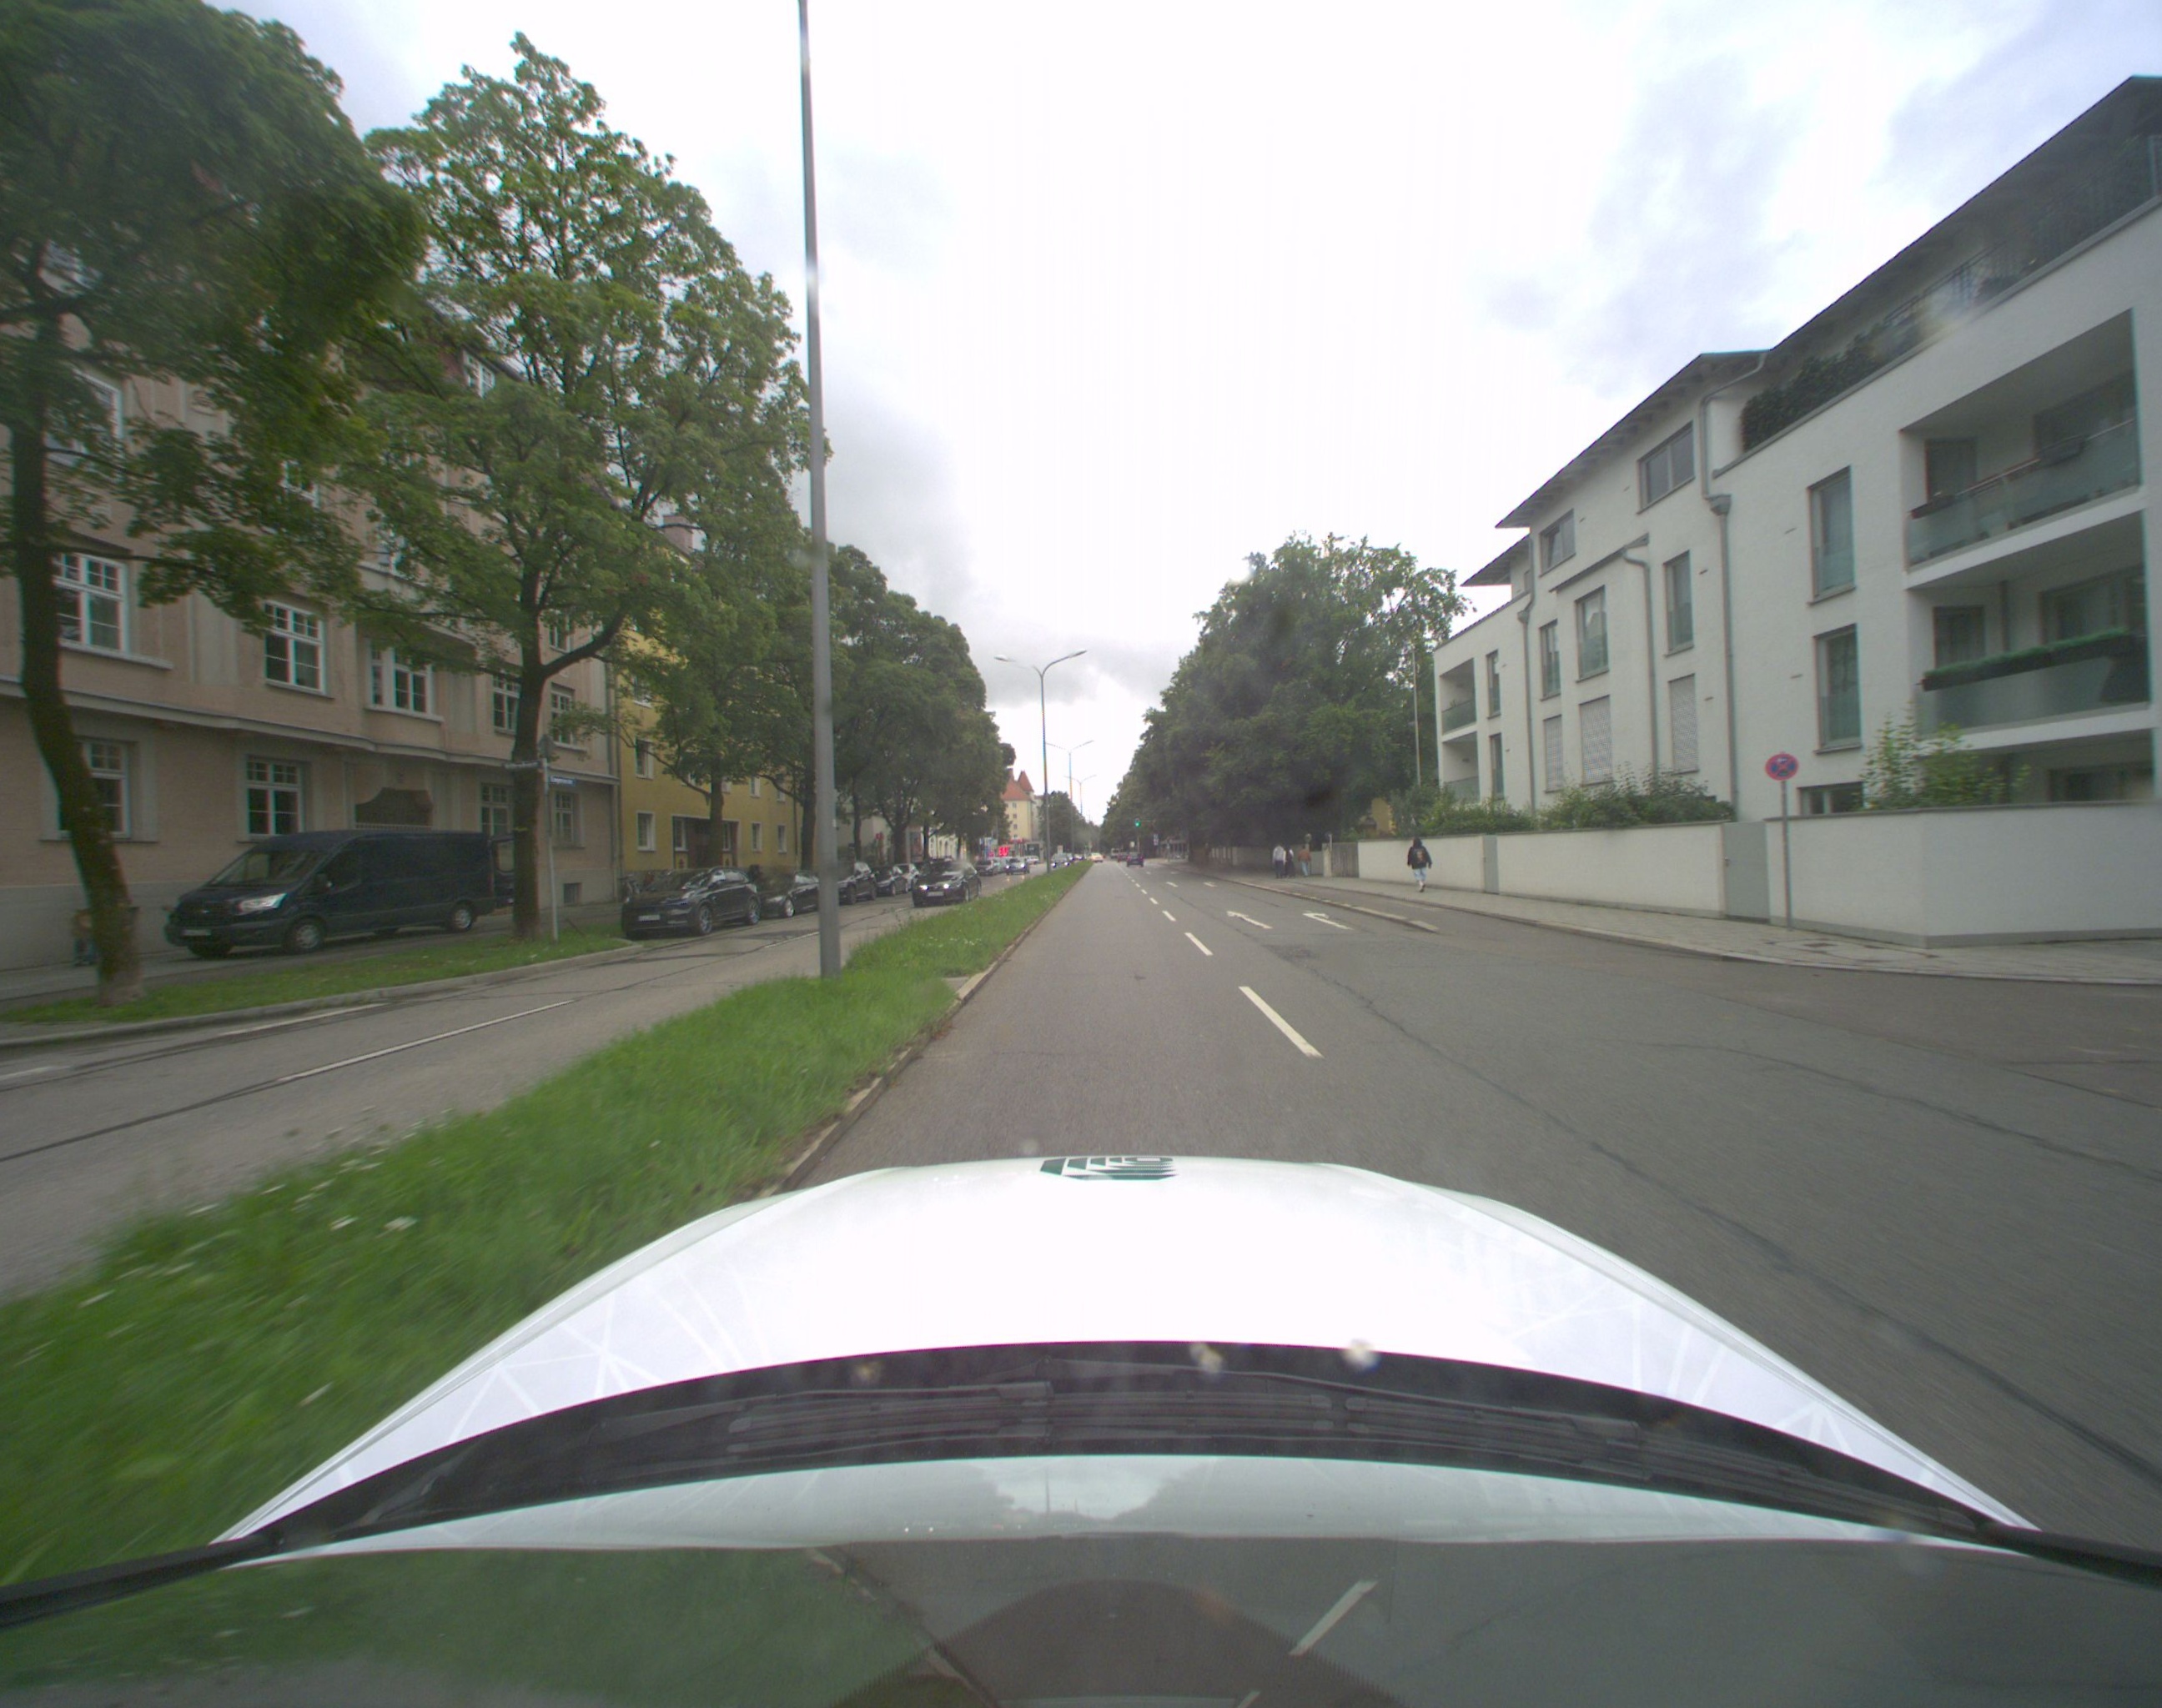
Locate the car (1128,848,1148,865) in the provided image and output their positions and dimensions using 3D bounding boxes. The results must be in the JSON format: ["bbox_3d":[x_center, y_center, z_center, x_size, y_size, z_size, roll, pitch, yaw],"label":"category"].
[{"bbox_3d":[5.852,0.259,84.492,1.850,1.684,4.001,-2,0,1],"label":"car"}]

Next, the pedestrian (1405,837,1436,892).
[{"bbox_3d":[10.180,0.318,24.447,0.526,1.581,0.729,-4,0,1],"label":"pedestrian"}]

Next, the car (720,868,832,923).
[{"bbox_3d":[-9.546,1.258,25.896,1.686,1.454,4.494,-2,0,2],"label":"car"}]

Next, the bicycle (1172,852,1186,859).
[{"bbox_3d":[15.698,0.277,130.628,2.130,1.014,0.604,-2,0,9],"label":"bicycle"}]

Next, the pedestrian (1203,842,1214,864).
[{"bbox_3d":[11.501,-0.113,73.520,0.774,1.942,0.803,-3,0,2],"label":"pedestrian"}]

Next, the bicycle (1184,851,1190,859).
[{"bbox_3d":[14.244,0.154,109.691,0.597,1.121,1.890,-2,-1,2],"label":"bicycle"}]

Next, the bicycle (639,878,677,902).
[{"bbox_3d":[-17.992,1.529,34.687,0.539,0.899,1.931,-2,0,2],"label":"bicycle"}]

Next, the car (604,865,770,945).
[{"bbox_3d":[-9.760,1.176,20.632,1.866,1.687,4.440,-2,0,2],"label":"car"}]

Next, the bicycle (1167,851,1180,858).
[{"bbox_3d":[15.353,0.113,134.858,2.130,1.178,0.604,-2,0,9],"label":"bicycle"}]

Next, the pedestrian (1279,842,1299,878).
[{"bbox_3d":[10.187,0.285,39.955,0.664,1.692,0.729,-4,0,0],"label":"pedestrian"}]

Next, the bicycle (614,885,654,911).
[{"bbox_3d":[-17.932,1.760,32.708,0.482,0.899,1.931,-2,0,2],"label":"bicycle"}]

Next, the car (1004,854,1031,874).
[{"bbox_3d":[-5.461,0.841,70.553,1.804,1.507,4.059,-3,0,2],"label":"car"}]

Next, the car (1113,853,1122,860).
[{"bbox_3d":[8.757,0.588,195.687,1.986,1.756,4.001,-2,0,1],"label":"car"}]

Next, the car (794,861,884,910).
[{"bbox_3d":[-9.318,1.151,31.781,1.871,1.645,4.772,-2,0,2],"label":"car"}]

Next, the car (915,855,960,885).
[{"bbox_3d":[-8.981,0.942,51.493,1.803,1.728,4.769,-2,0,2],"label":"car"}]

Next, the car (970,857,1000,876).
[{"bbox_3d":[-8.326,1.030,71.002,1.804,1.507,4.647,-2,0,2],"label":"car"}]

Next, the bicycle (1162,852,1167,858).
[{"bbox_3d":[14.320,0.199,139.700,0.555,1.014,2.015,-2,0,0],"label":"bicycle"}]

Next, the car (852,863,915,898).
[{"bbox_3d":[-9.081,1.175,37.794,1.720,1.406,4.365,-2,0,2],"label":"car"}]

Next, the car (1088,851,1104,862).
[{"bbox_3d":[2.333,0.392,123.976,1.777,1.647,4.770,-2,0,-7],"label":"car"}]

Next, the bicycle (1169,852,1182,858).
[{"bbox_3d":[15.482,0.189,133.387,2.130,1.014,0.604,-2,0,9],"label":"bicycle"}]

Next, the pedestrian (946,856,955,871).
[{"bbox_3d":[-14.255,1.049,88.959,0.594,1.697,0.937,-2,0,-26],"label":"pedestrian"}]

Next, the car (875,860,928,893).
[{"bbox_3d":[-9.428,1.158,43.135,1.720,1.561,4.059,-2,0,2],"label":"car"}]

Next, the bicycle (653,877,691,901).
[{"bbox_3d":[-17.394,1.479,34.679,0.539,0.899,1.931,-2,0,2],"label":"bicycle"}]

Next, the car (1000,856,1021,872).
[{"bbox_3d":[-7.564,1.093,87.082,1.642,1.585,3.793,-2,0,3],"label":"car"}]

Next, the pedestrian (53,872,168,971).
[{"bbox_3d":[-17.793,1.206,14.961,0.745,1.710,1.083,-2,0,1],"label":"pedestrian"}]

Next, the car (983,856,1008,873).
[{"bbox_3d":[-8.119,0.940,77.515,1.804,1.507,3.962,-2,0,2],"label":"car"}]

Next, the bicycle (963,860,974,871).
[{"bbox_3d":[-11.783,1.223,85.090,0.460,1.115,1.947,-2,0,-30],"label":"bicycle"}]

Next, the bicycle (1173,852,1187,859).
[{"bbox_3d":[15.907,0.259,131.202,2.130,1.014,0.636,-2,0,9],"label":"bicycle"}]

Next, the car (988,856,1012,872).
[{"bbox_3d":[-8.060,0.977,81.736,1.804,1.507,4.293,-2,0,2],"label":"car"}]

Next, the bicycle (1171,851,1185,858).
[{"bbox_3d":[15.706,0.149,132.012,2.130,1.071,0.604,-2,0,9],"label":"bicycle"}]

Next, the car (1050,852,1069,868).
[{"bbox_3d":[-2.462,0.697,93.884,1.763,1.679,4.370,-4,0,2],"label":"car"}]

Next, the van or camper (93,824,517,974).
[{"bbox_3d":[-15.747,0.702,17.453,2.337,2.579,6.854,0,1,2],"label":"van or camper"}]

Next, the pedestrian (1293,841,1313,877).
[{"bbox_3d":[10.884,0.243,39.912,0.664,1.705,0.766,-4,0,0],"label":"pedestrian"}]

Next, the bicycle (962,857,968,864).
[{"bbox_3d":[-15.537,0.892,109.241,0.471,0.980,1.546,-2,0,2],"label":"bicycle"}]

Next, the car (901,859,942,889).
[{"bbox_3d":[-9.199,1.124,47.072,1.721,1.558,3.009,-2,0,0],"label":"car"}]

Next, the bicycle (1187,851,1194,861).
[{"bbox_3d":[12.709,0.237,94.568,0.620,1.090,2.026,-2,0,1],"label":"bicycle"}]

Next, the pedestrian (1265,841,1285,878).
[{"bbox_3d":[9.497,0.268,39.919,0.664,1.722,0.729,-4,0,0],"label":"pedestrian"}]

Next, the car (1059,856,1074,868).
[{"bbox_3d":[-2.039,1.146,115.912,1.868,1.584,4.623,-4,0,2],"label":"car"}]

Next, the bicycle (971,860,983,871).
[{"bbox_3d":[-10.990,1.238,86.191,0.551,1.115,1.863,-2,0,-30],"label":"bicycle"}]

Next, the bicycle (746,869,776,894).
[{"bbox_3d":[-17.323,1.477,44.124,0.767,1.222,1.931,-2,0,1],"label":"bicycle"}]

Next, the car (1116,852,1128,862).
[{"bbox_3d":[6.095,0.451,120.803,1.772,1.474,3.894,-1,0,2],"label":"car"}]

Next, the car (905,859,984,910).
[{"bbox_3d":[-4.555,0.959,27.764,1.804,1.507,4.325,-2,0,2],"label":"car"}]
